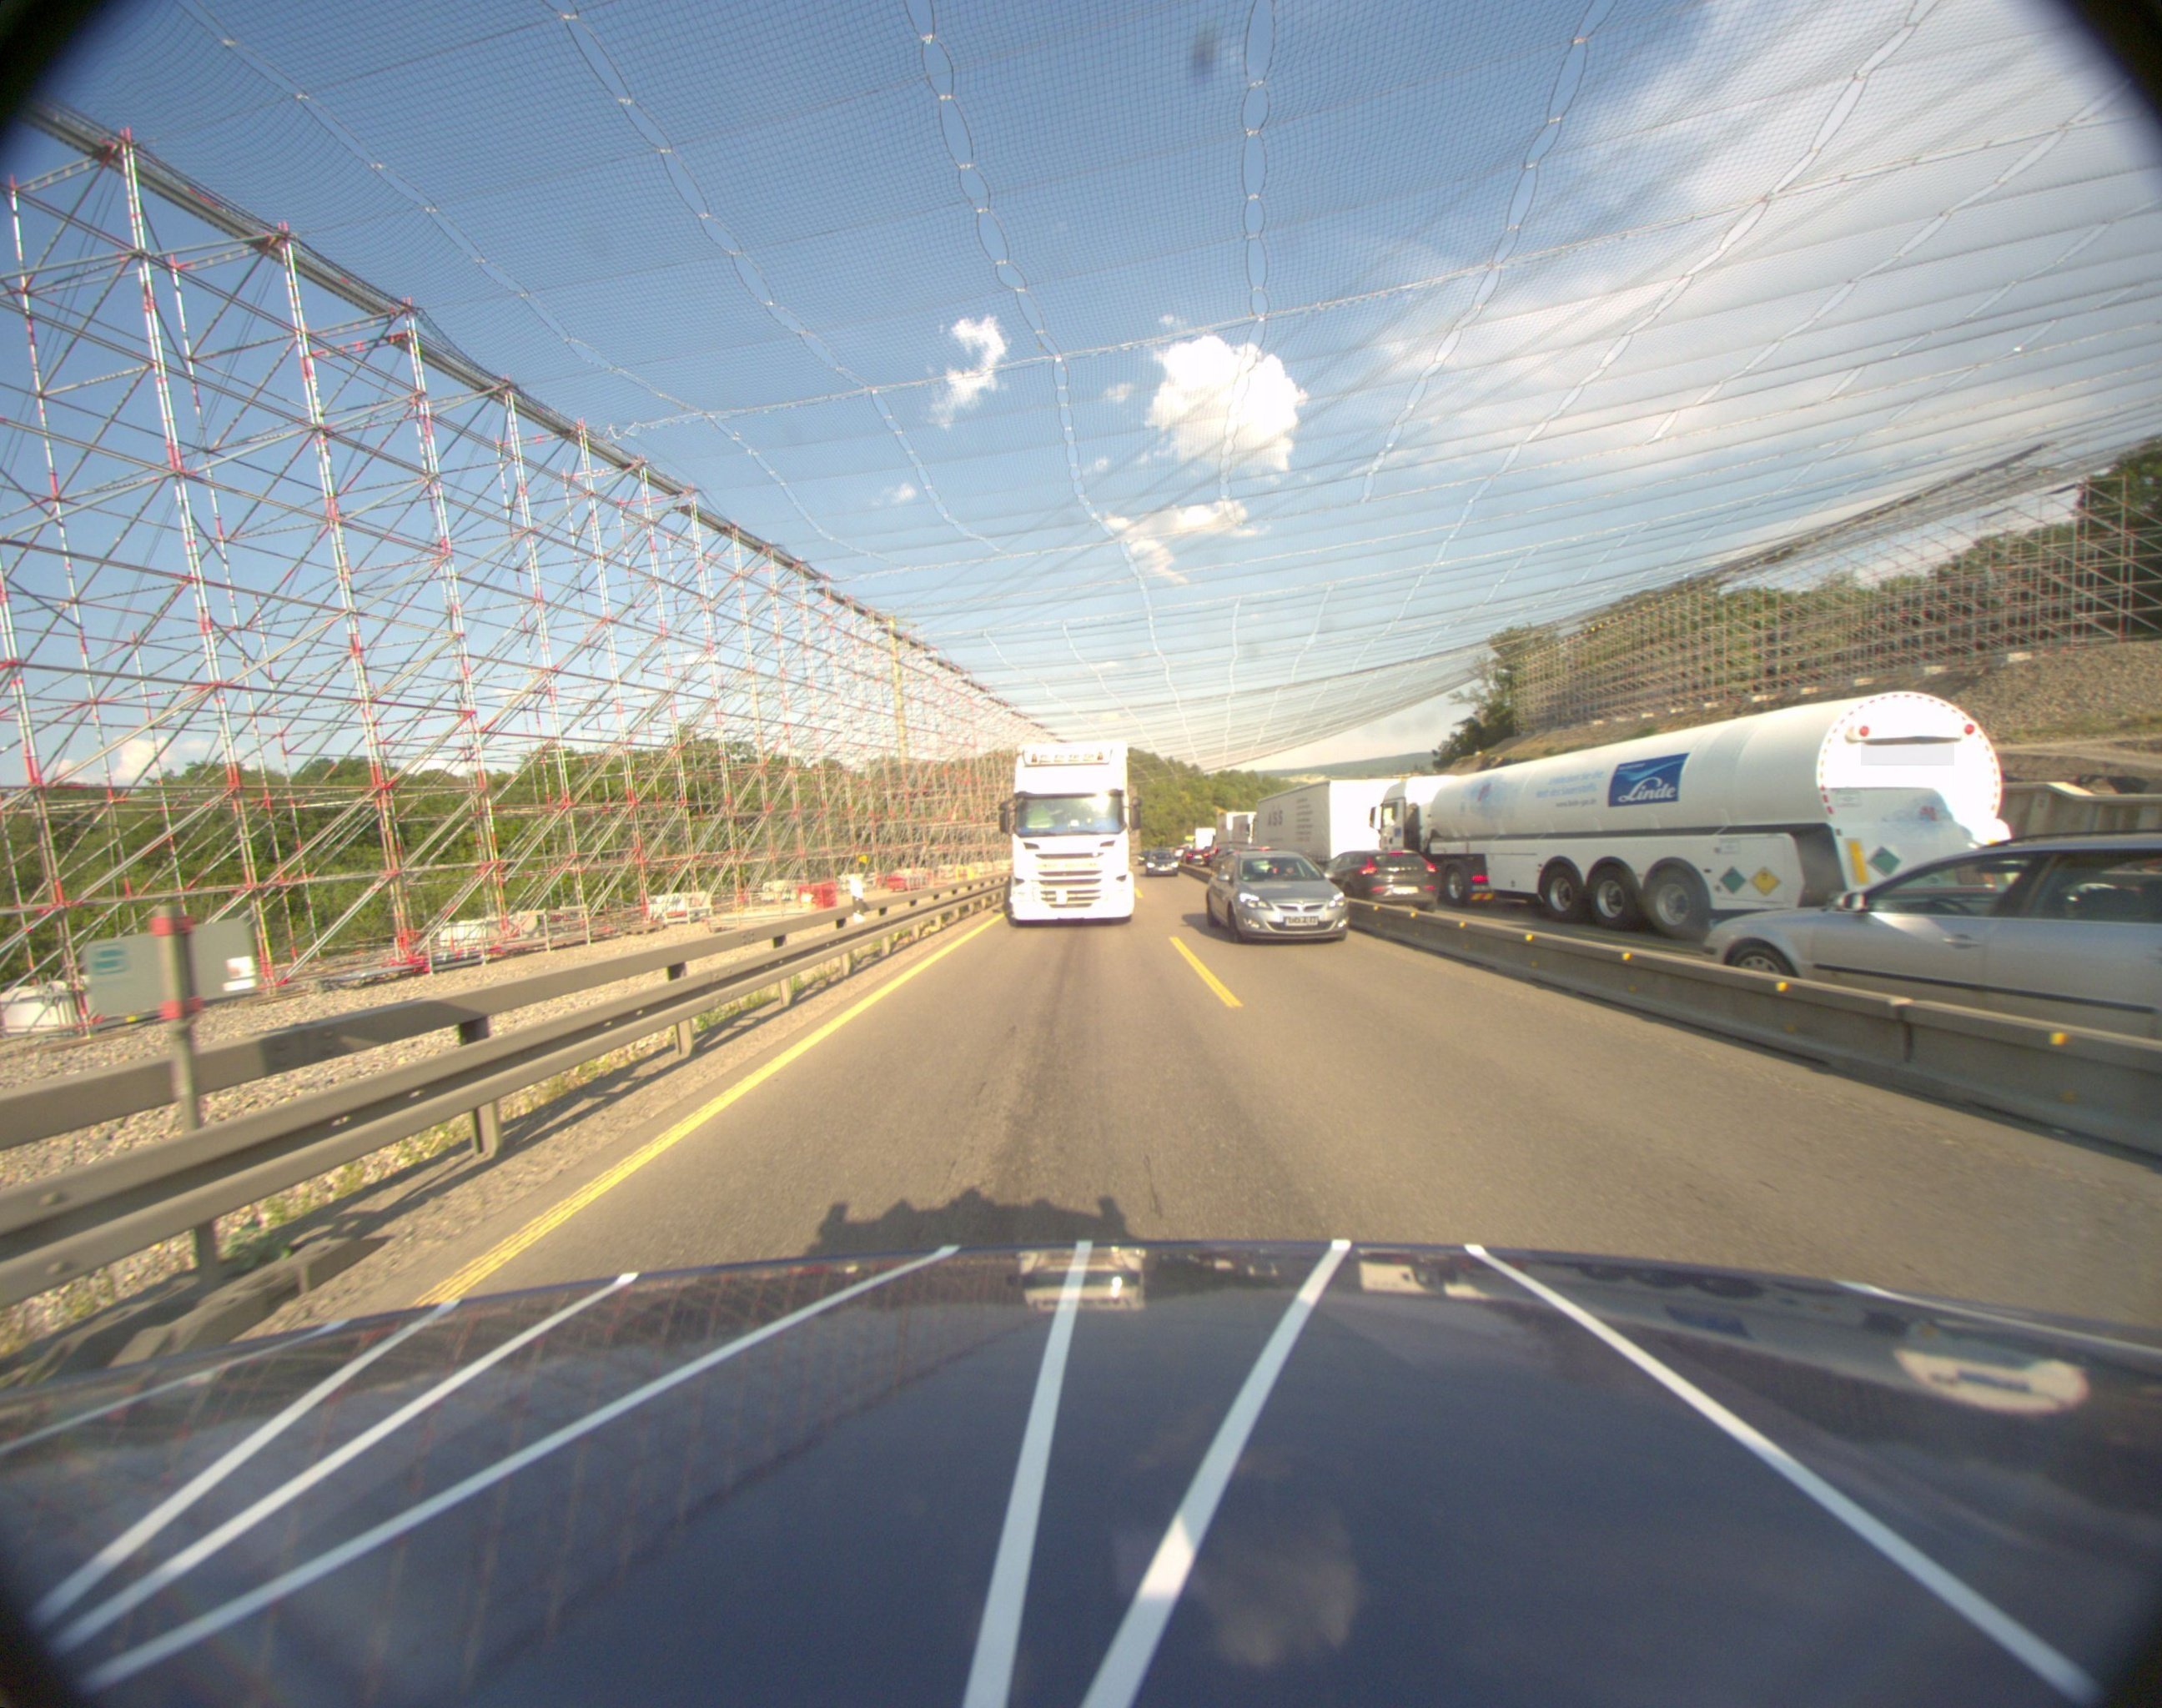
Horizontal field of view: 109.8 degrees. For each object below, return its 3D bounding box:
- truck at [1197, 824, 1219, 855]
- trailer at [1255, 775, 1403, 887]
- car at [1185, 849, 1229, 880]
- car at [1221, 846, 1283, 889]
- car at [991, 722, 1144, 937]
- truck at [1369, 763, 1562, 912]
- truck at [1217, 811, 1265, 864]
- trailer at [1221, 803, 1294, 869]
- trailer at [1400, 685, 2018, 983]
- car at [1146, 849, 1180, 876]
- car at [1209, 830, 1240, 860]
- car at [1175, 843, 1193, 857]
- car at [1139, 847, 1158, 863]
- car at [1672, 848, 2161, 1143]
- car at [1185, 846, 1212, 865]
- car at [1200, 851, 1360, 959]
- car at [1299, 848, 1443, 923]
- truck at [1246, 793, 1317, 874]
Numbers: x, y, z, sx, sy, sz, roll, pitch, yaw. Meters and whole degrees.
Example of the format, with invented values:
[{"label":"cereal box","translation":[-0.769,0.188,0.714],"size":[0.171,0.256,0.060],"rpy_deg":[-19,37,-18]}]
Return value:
[{"label":"truck","translation":[18.539,-2.148,111.495],"size":[2.727,4.203,14.174],"rpy_deg":[-1,1,8]},{"label":"trailer","translation":[10.447,-0.920,34.152],"size":[2.433,3.940,14.098],"rpy_deg":[-2,1,2]},{"label":"car","translation":[6.355,0.508,38.732],"size":[1.797,1.390,4.244],"rpy_deg":[-1,1,4]},{"label":"car","translation":[6.867,0.504,30.838],"size":[1.755,1.578,3.943],"rpy_deg":[-2,1,3]},{"label":"car","translation":[-0.232,-0.534,18.922],"size":[2.858,4.092,8.279],"rpy_deg":[-2,1,0]},{"label":"truck","translation":[9.916,-0.412,20.281],"size":[2.419,3.351,5.617],"rpy_deg":[-2,1,2]},{"label":"truck","translation":[12.423,-1.264,59.465],"size":[2.636,3.888,7.205],"rpy_deg":[-1,1,4]},{"label":"trailer","translation":[12.093,-1.217,53.509],"size":[2.676,3.992,13.334],"rpy_deg":[-1,1,3]},{"label":"trailer","translation":[9.697,-0.307,14.693],"size":[2.312,3.342,12.052],"rpy_deg":[-2,1,2]},{"label":"car","translation":[4.587,0.469,42.790],"size":[1.764,1.376,3.823],"rpy_deg":[-1,1,4]},{"label":"car","translation":[13.899,-0.908,74.194],"size":[2.246,2.697,7.083],"rpy_deg":[-1,1,5]},{"label":"car","translation":[12.105,-0.494,89.305],"size":[1.812,1.559,4.366],"rpy_deg":[-1,1,4]},{"label":"car","translation":[6.116,0.058,68.444],"size":[1.675,1.376,3.823],"rpy_deg":[-1,1,6]},{"label":"car","translation":[6.218,0.708,4.604],"size":[1.631,1.418,4.656],"rpy_deg":[-2,1,0]},{"label":"car","translation":[9.019,0.069,58.587],"size":[1.611,1.368,3.900],"rpy_deg":[-2,1,2]},{"label":"car","translation":[3.219,0.735,13.168],"size":[1.760,1.464,4.353],"rpy_deg":[-2,1,2]},{"label":"car","translation":[6.420,0.617,17.374],"size":[1.631,1.418,4.387],"rpy_deg":[-2,1,0]},{"label":"truck","translation":[10.762,-1.087,41.255],"size":[2.479,4.023,5.617],"rpy_deg":[-2,1,2]}]
